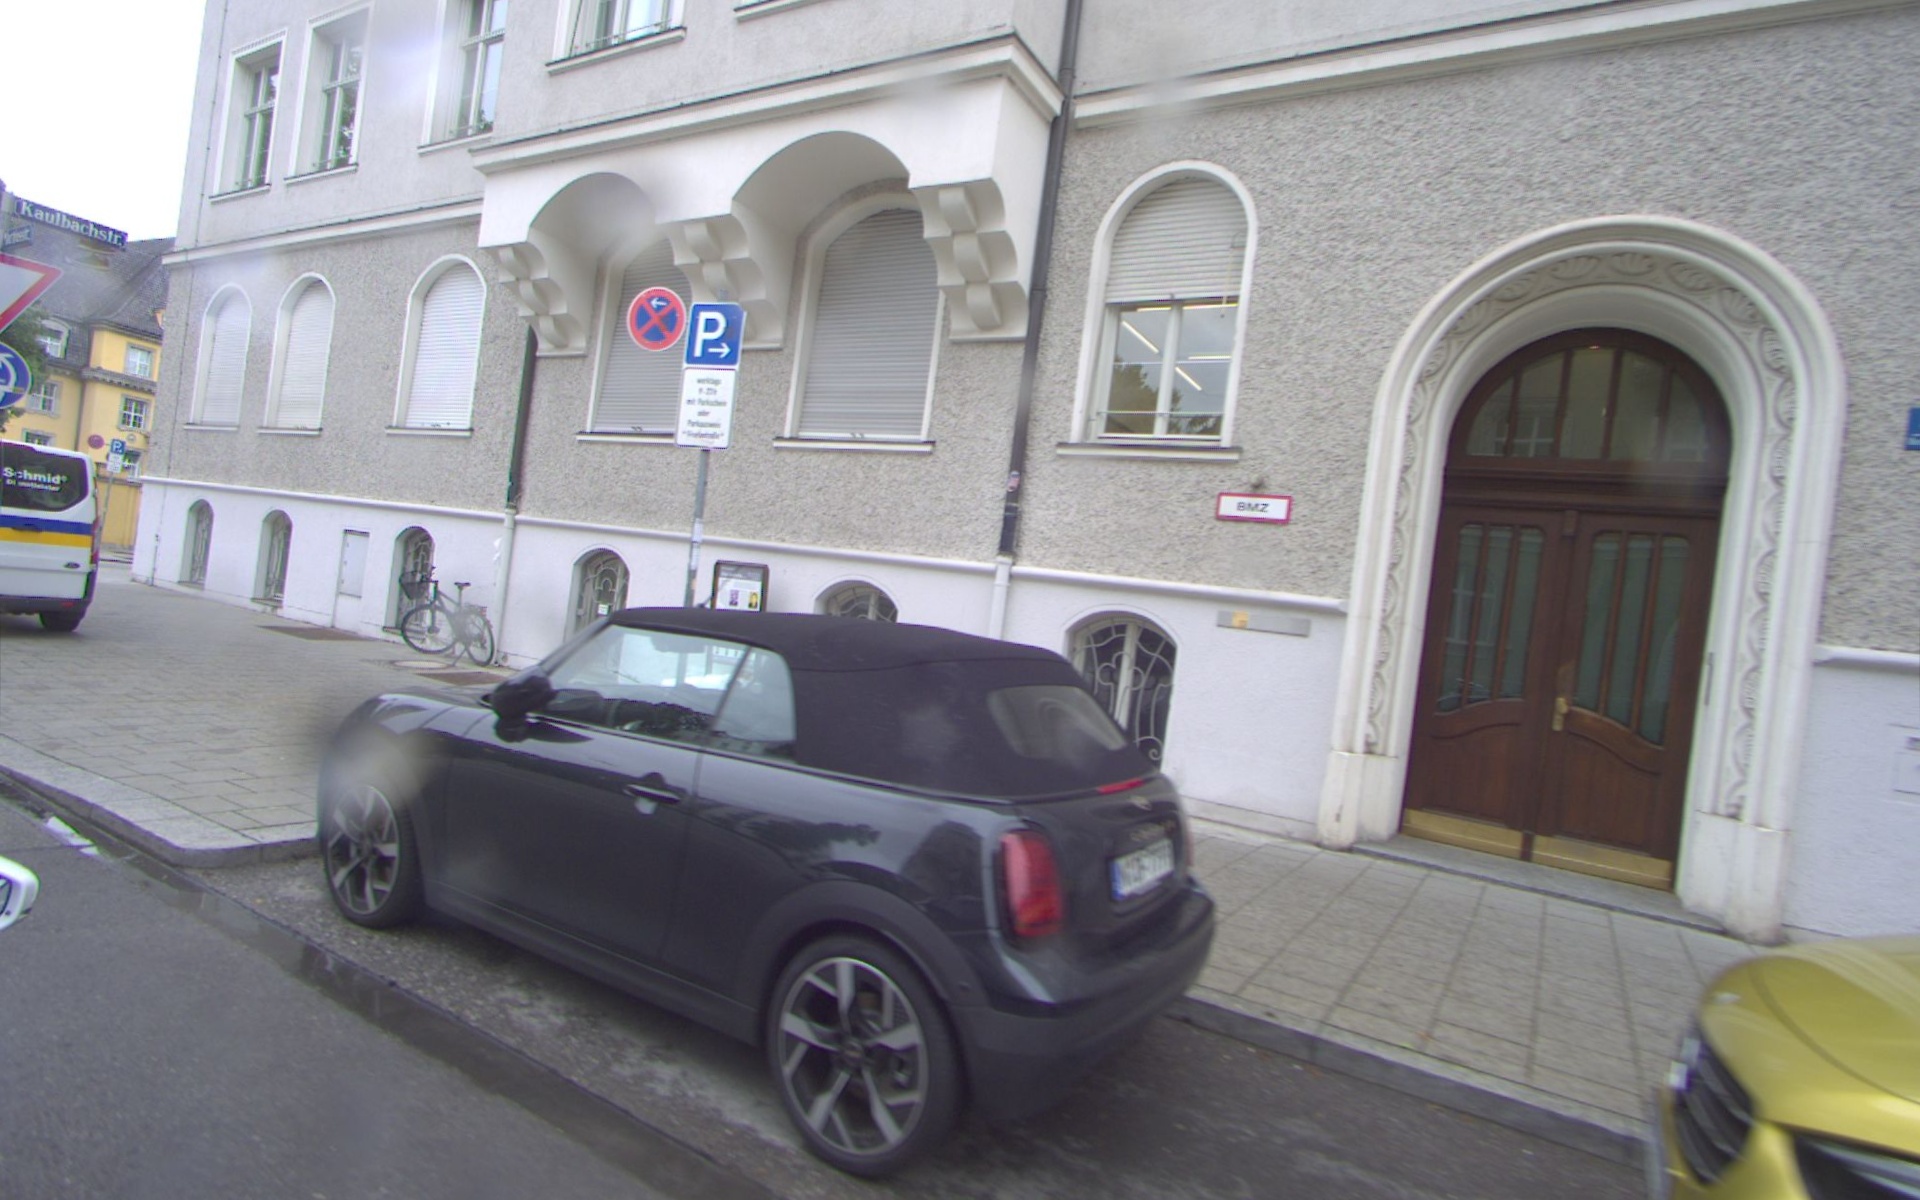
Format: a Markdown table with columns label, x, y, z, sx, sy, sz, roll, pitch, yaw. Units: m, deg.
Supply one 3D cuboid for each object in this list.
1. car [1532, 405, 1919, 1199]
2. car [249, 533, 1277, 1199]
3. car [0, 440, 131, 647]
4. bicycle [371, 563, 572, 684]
| label | x | y | z | sx | sy | sz | roll | pitch | yaw |
| --- | --- | --- | --- | --- | --- | --- | --- | --- | --- |
| car | 3.383 | 0.961 | 1.256 | 4.496 | 1.941 | 1.996 | 7 | 0 | 33 |
| car | -0.913 | 0.704 | 4.049 | 3.763 | 1.462 | 1.715 | 7 | -1 | 31 |
| car | -11.421 | -0.822 | 10.886 | 5.283 | 1.946 | 1.941 | 7 | 1 | 30 |
| bicycle | -6.042 | 0.255 | 12.365 | 2.711 | 1.128 | 0.839 | 7 | 3 | 31 |
